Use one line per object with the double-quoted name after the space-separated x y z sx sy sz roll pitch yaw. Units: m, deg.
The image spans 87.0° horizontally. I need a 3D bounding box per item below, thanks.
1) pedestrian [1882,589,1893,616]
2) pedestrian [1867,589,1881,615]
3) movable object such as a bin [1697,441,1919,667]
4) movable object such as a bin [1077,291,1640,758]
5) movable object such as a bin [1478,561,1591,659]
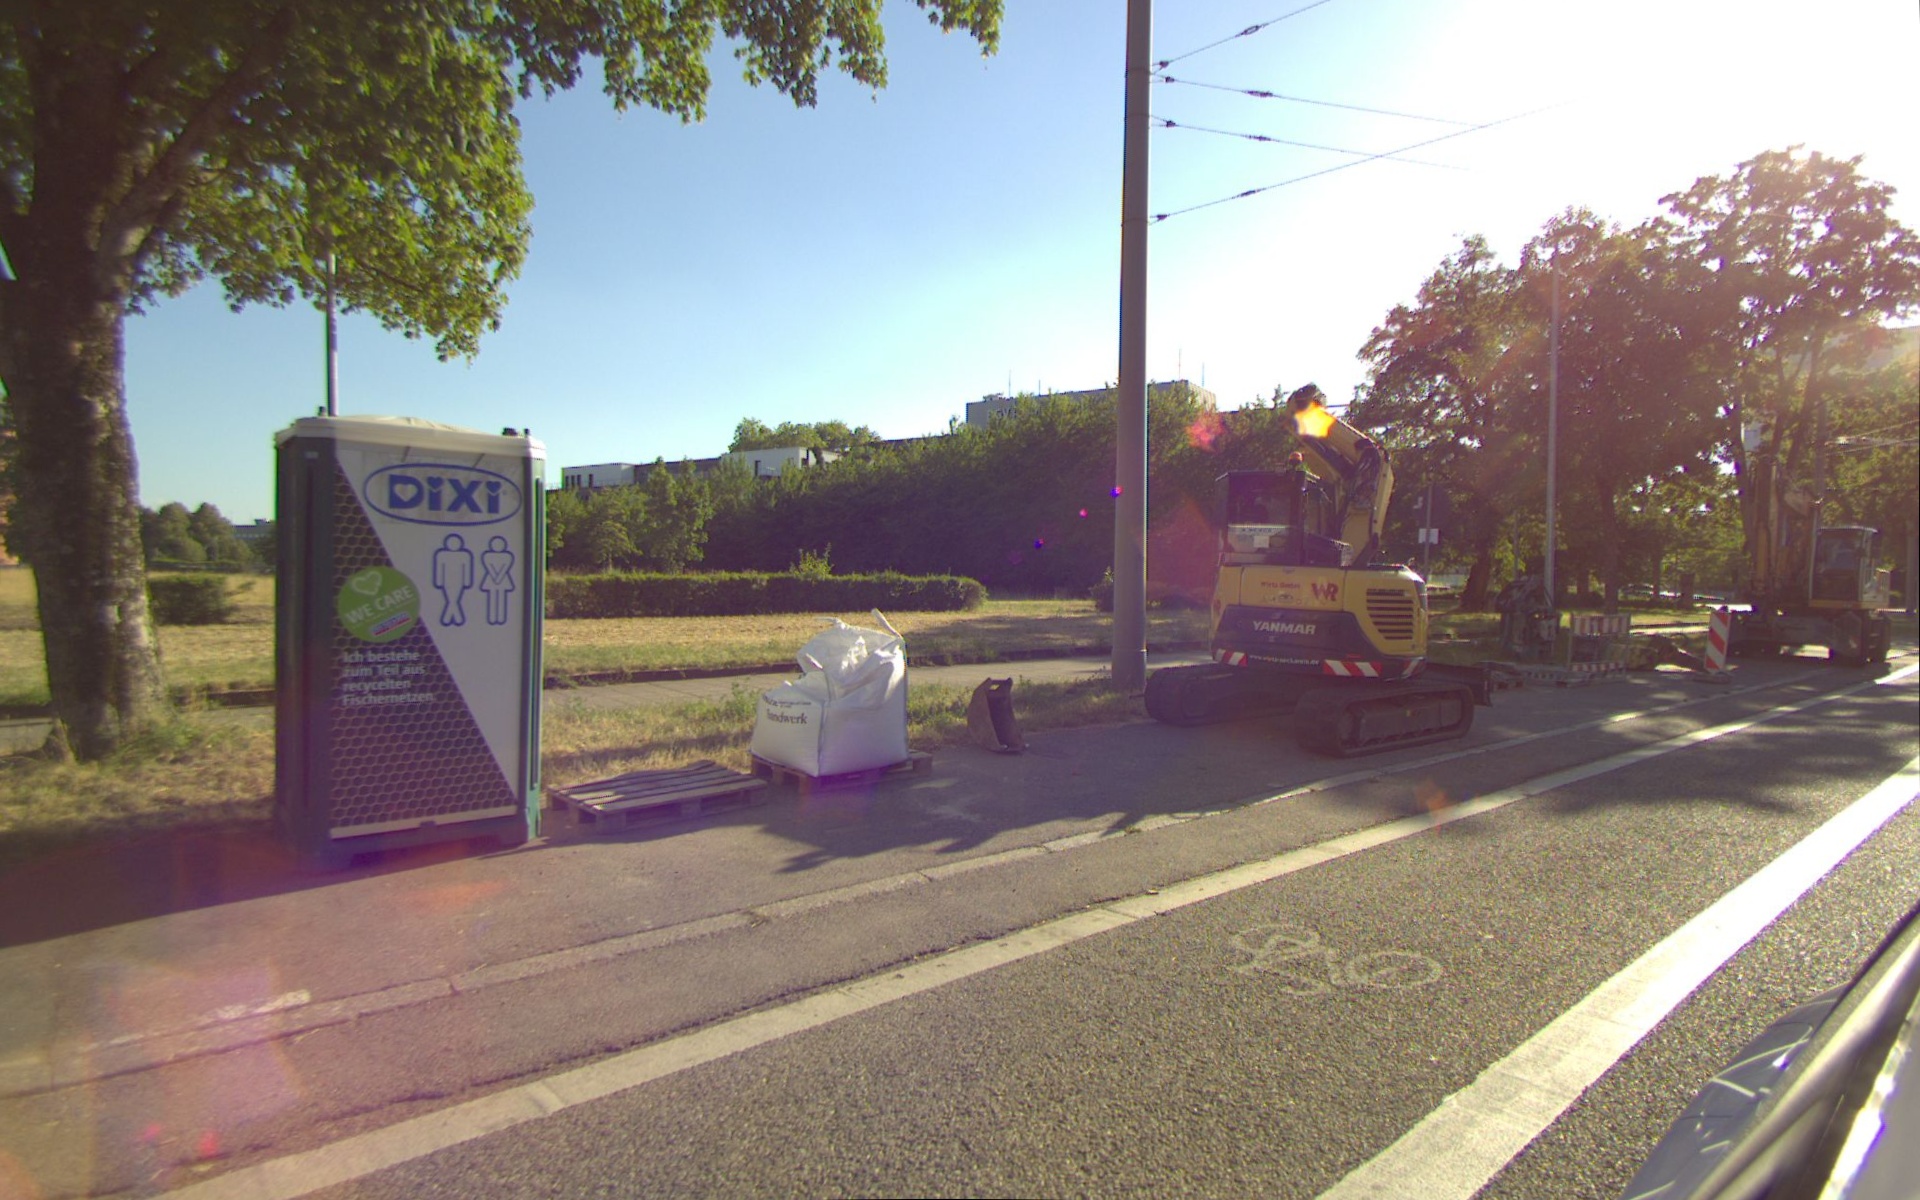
66.390 0.174 72.426 0.555 1.864 0.501 0 1 -42 "pedestrian"
65.917 0.141 72.979 0.555 1.864 0.645 0 1 -42 "pedestrian"
20.699 -1.076 24.515 7.468 4.666 2.920 0 4 -42 "movable object such as a bin"
5.248 -0.774 12.502 7.468 4.024 3.345 0 4 -42 "movable object such as a bin"
10.998 0.163 19.399 1.278 1.687 1.323 0 7 -36 "movable object such as a bin"
